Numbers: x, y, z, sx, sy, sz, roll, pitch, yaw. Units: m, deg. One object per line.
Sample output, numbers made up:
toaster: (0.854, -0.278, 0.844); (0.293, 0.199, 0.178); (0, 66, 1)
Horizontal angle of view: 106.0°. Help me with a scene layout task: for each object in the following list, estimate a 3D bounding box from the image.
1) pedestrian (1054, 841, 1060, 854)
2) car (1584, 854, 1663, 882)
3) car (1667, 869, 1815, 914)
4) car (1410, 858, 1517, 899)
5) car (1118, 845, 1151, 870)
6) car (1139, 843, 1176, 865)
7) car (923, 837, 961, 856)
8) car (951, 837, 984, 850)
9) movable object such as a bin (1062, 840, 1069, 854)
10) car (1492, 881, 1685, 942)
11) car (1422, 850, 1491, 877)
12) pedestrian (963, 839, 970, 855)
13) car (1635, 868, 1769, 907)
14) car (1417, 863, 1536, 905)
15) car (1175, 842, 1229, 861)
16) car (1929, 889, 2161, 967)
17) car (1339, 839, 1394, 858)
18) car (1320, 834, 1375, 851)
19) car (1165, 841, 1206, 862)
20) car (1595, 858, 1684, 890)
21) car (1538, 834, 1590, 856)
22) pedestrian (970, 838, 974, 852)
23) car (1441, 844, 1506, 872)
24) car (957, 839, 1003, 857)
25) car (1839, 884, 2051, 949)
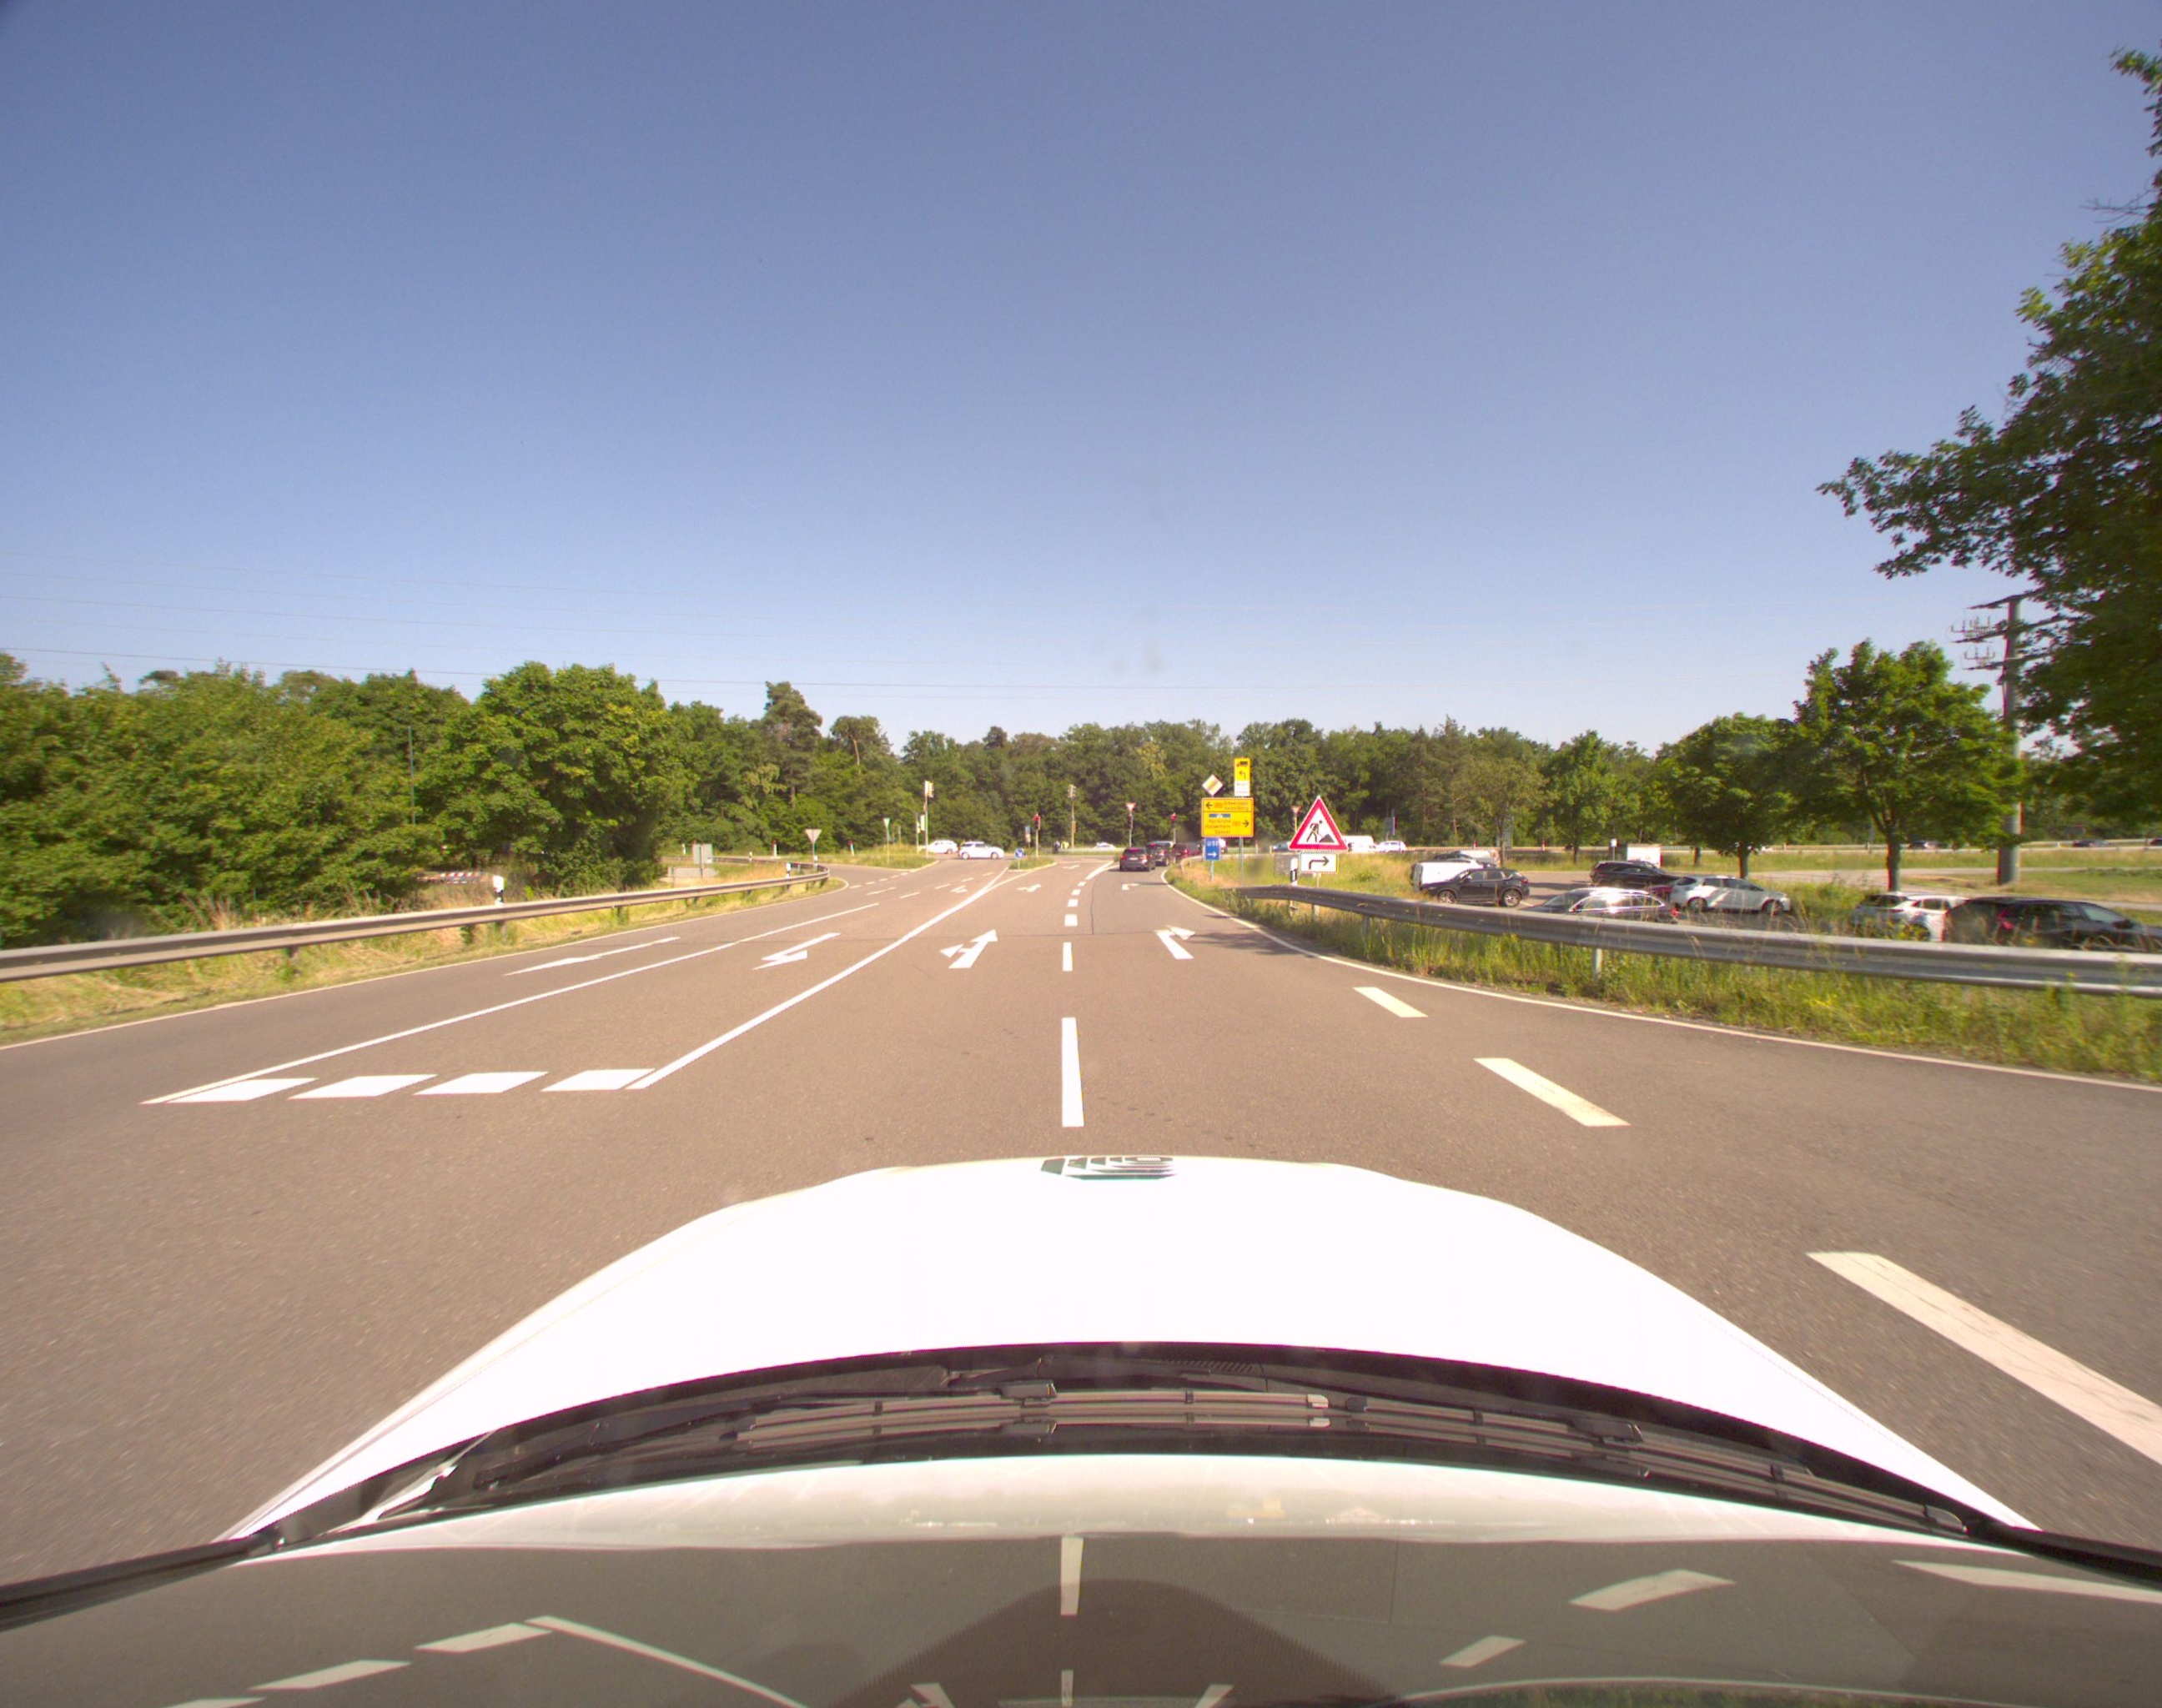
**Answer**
pedestrian: (-2.574, -0.661, 86.671); (0.520, 1.390, 0.515); (-2, 0, 10)
car: (34.401, 0.848, 51.758); (3.950, 1.580, 1.799); (2, 1, 26)
car: (27.337, 1.512, 33.907); (4.319, 1.589, 2.010); (2, 1, 19)
car: (18.166, 1.140, 38.878); (4.326, 1.783, 1.908); (1, 1, 11)
car: (3.262, 0.172, 48.956); (1.790, 1.398, 4.007); (0, 1, 6)
car: (5.308, -0.033, 56.286); (1.785, 1.501, 4.018); (0, 1, 16)
car: (-16.104, -0.920, 94.267); (4.004, 2.013, 1.782); (-3, 0, -22)
car: (-14.061, -1.254, 101.072); (3.984, 1.422, 1.791); (-3, 0, -8)
movable object such as a bin: (-1.619, -0.796, 87.279); (0.599, 1.488, 0.733); (-2, 0, 7)
car: (15.391, 1.732, 24.882); (4.635, 1.626, 2.001); (-1, 0, 1)
car: (25.424, 0.621, 55.136); (3.949, 1.619, 1.903); (2, 1, 33)
pedestrian: (-12.839, -0.754, 91.088); (0.757, 1.721, 0.677); (-2, 1, -10)
car: (27.544, 1.460, 36.312); (4.319, 1.447, 2.010); (2, 1, 19)
car: (17.386, 1.314, 36.013); (4.384, 1.667, 1.908); (-2, 1, 11)
car: (10.685, -0.240, 72.137); (4.361, 1.459, 1.995); (-3, 0, -8)
car: (24.860, 1.857, 20.903); (3.966, 1.665, 1.895); (2, 1, 7)
car: (25.733, -0.476, 73.445); (4.225, 1.459, 1.995); (-3, 0, -8)
car: (26.670, -1.147, 81.532); (4.877, 1.552, 1.995); (-3, 0, -8)
car: (7.950, -0.195, 61.572); (1.782, 1.501, 4.024); (0, 1, 28)
car: (31.816, 1.123, 46.560); (3.950, 1.580, 1.903); (2, 1, 26)
car: (45.238, -0.860, 76.328); (3.982, 2.013, 1.797); (-1, 1, -7)
pedestrian: (-13.383, -1.055, 100.116); (0.407, 1.714, 0.452); (-2, 0, -5)
car: (29.023, 0.288, 60.277); (3.949, 1.876, 1.903); (2, 1, 39)
car: (-8.607, -0.487, 69.581); (3.830, 1.486, 1.886); (-1, 0, -8)
car: (25.195, 1.784, 23.892); (3.965, 1.580, 1.895); (2, 1, 7)
